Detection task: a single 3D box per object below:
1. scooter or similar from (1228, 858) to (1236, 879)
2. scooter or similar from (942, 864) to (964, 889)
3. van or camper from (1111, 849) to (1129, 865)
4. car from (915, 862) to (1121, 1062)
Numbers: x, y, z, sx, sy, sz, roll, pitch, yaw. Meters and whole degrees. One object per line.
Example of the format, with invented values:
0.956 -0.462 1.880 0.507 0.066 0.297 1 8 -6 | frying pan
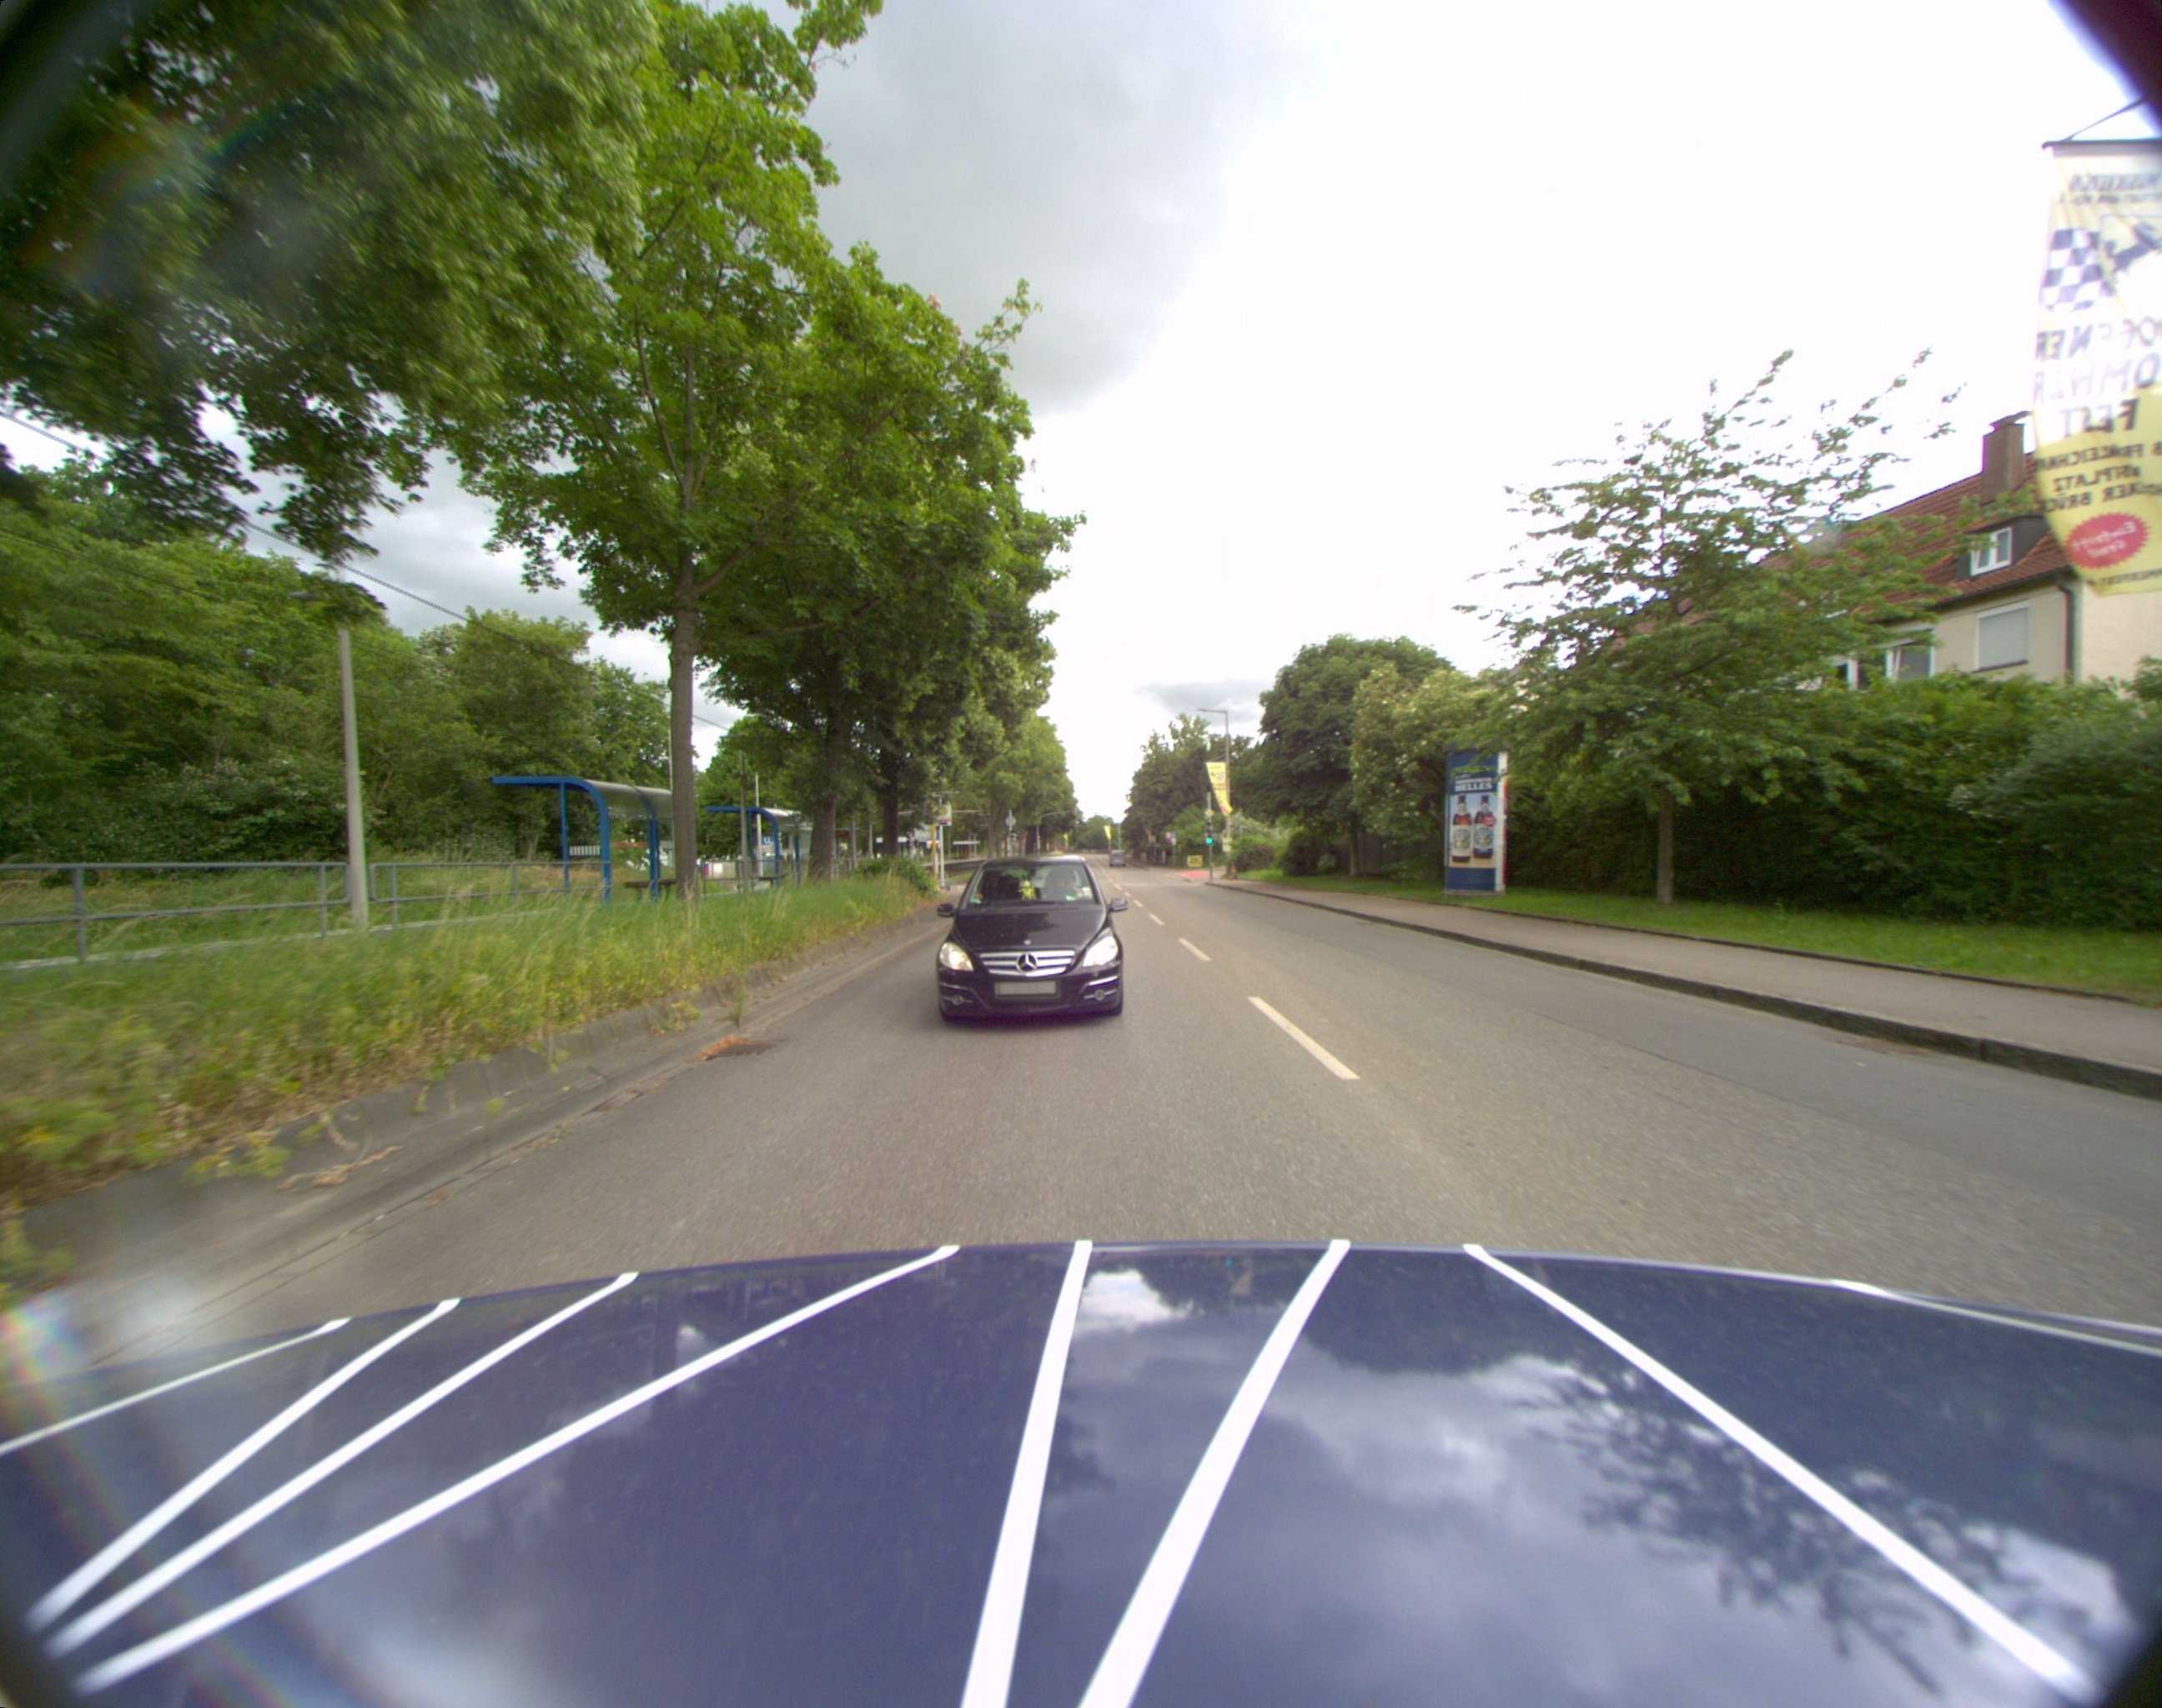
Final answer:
8.901 0.848 44.775 0.253 1.209 1.280 -1 0 5 | scooter or similar
-6.511 1.135 38.704 1.088 1.201 0.364 -1 1 -7 | scooter or similar
4.822 0.355 94.541 1.918 1.888 4.811 -1 0 0 | van or camper
-0.552 0.945 8.726 1.683 1.565 4.482 -3 0 0 | car
